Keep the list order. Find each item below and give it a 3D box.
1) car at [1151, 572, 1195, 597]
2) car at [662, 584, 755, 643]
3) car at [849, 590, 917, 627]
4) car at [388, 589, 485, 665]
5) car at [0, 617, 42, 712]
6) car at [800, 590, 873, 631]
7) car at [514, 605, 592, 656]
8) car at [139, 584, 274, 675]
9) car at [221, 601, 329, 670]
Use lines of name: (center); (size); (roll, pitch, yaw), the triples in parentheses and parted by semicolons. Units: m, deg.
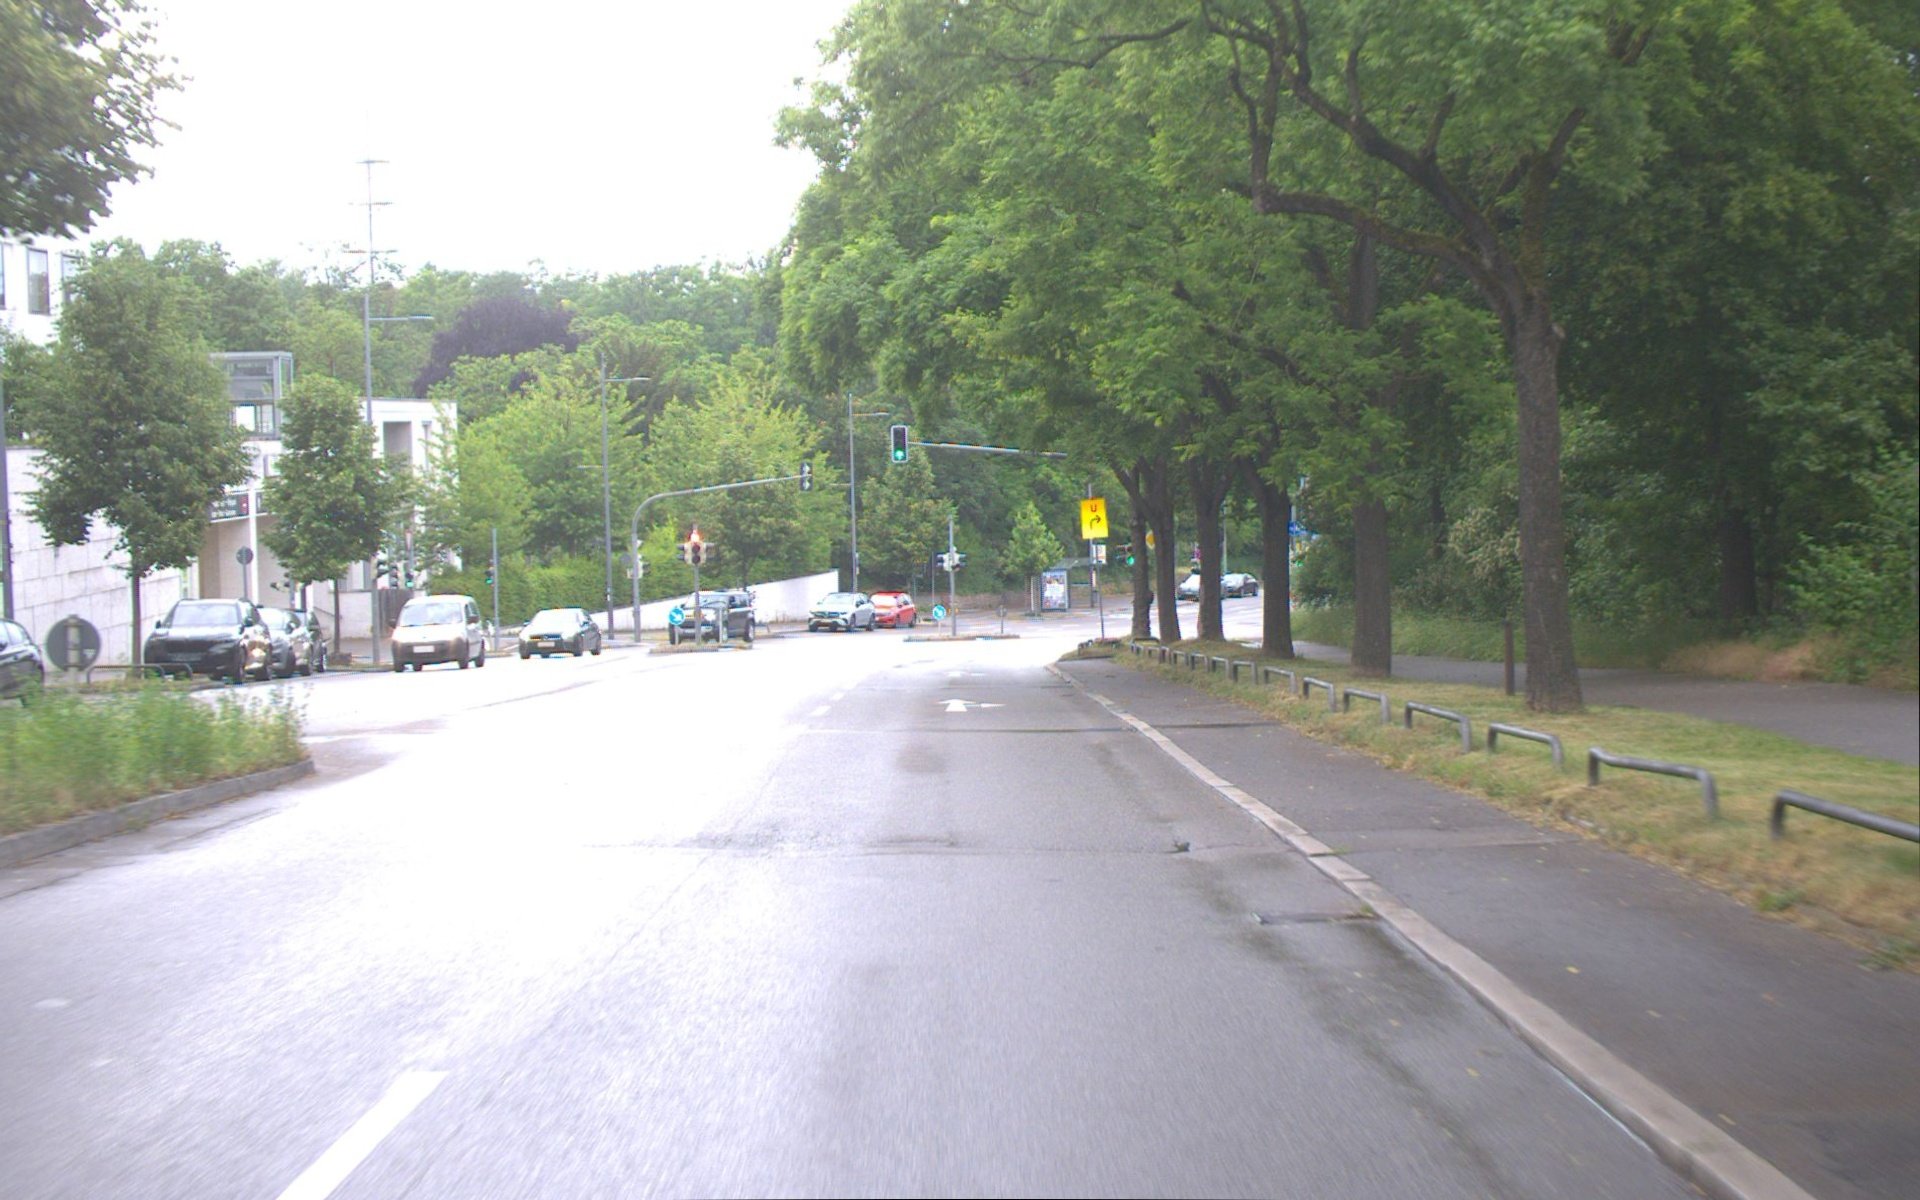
car: (12.760, -0.900, 205.649); (1.714, 1.456, 3.747); (0, 0, 19)
car: (-8.930, 0.477, 122.595); (1.921, 1.851, 4.504); (-5, 0, 13)
car: (-3.406, 0.371, 153.481); (1.876, 1.569, 4.220); (1, 1, 15)
car: (-12.624, 0.630, 83.067); (1.710, 1.740, 4.338); (-1, 0, -1)
car: (-15.224, 0.977, 51.999); (1.679, 1.421, 3.965); (0, 0, -1)
car: (-5.235, 0.418, 146.616); (1.854, 1.634, 4.090); (2, 1, 17)
car: (-12.005, 0.892, 101.596); (1.770, 1.376, 4.190); (-3, 0, 0)
car: (-15.497, 0.596, 70.911); (1.856, 1.775, 4.597); (-2, 0, -2)
car: (-15.268, 0.776, 76.765); (1.679, 1.510, 3.710); (0, 0, 0)
